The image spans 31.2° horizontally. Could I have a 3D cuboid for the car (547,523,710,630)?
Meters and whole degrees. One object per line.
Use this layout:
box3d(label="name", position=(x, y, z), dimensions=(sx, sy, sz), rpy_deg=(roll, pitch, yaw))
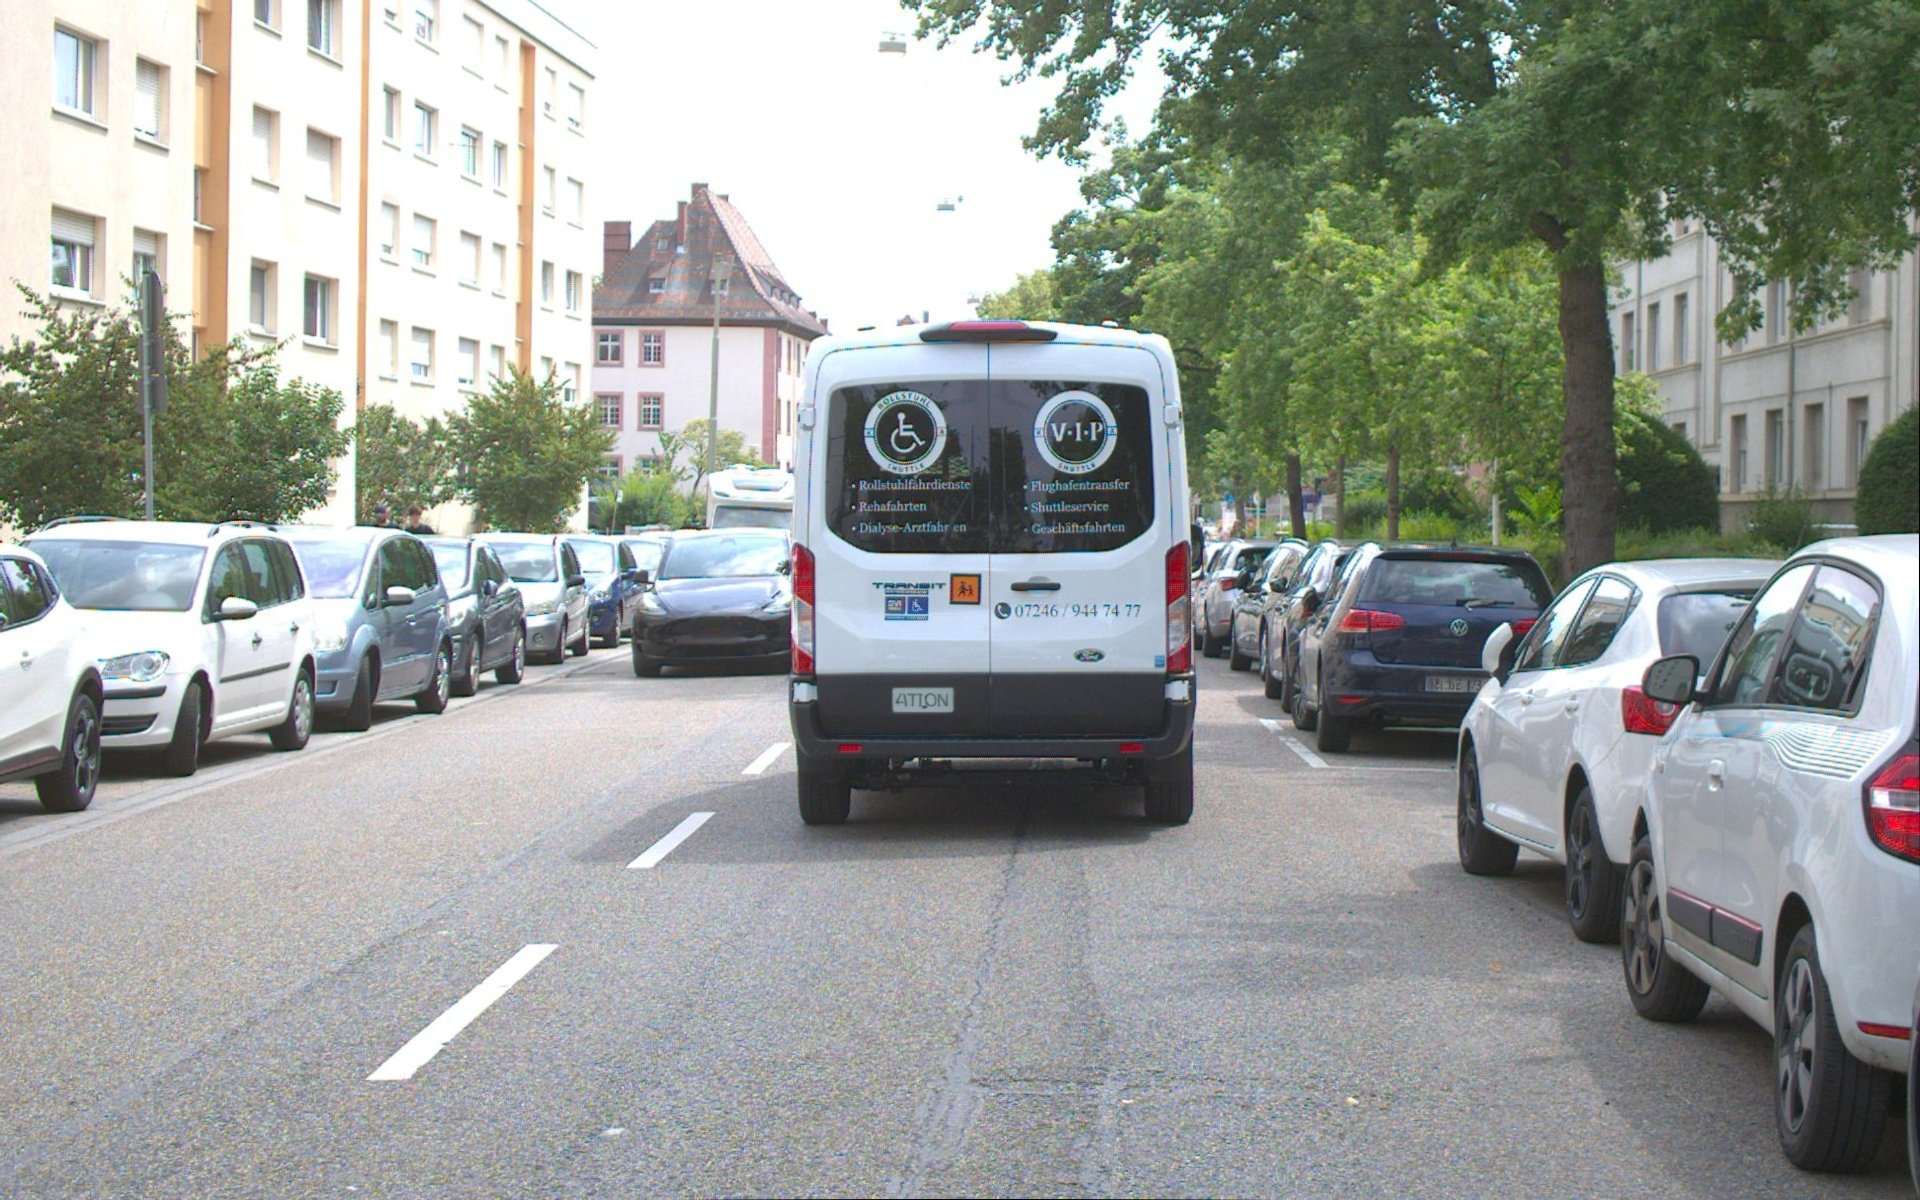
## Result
box3d(label="car", position=(-5.003, -0.389, 52.391), dimensions=(1.818, 1.478, 4.116), rpy_deg=(2, 2, 3))

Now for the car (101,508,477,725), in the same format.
box3d(label="car", position=(-5.564, 0.066, 29.165), dimensions=(1.942, 1.607, 4.861), rpy_deg=(2, 2, 3))

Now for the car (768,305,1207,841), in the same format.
box3d(label="car", position=(0.117, -0.171, 18.542), dimensions=(2.070, 2.531, 4.635), rpy_deg=(0, 1, 0))

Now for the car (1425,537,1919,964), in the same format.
box3d(label="car", position=(3.069, 0.503, 14.225), dimensions=(1.697, 1.445, 4.101), rpy_deg=(1, 2, 0))

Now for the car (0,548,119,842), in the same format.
box3d(label="car", position=(-5.811, 0.477, 18.187), dimensions=(1.708, 1.468, 3.989), rpy_deg=(2, 2, 0))

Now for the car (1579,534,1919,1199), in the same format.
box3d(label="car", position=(2.799, 0.668, 9.448), dimensions=(1.605, 1.602, 3.804), rpy_deg=(3, 2, 3))

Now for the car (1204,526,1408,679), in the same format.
box3d(label="car", position=(3.691, -0.028, 37.368), dimensions=(1.697, 1.464, 4.754), rpy_deg=(2, 2, 0))

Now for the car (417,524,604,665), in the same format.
box3d(label="car", position=(-5.403, -0.105, 41.713), dimensions=(1.670, 1.556, 3.852), rpy_deg=(2, 2, 0))

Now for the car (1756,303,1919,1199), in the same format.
box3d(label="car", position=(2.583, 0.467, 4.883), dimensions=(1.918, 1.859, 4.846), rpy_deg=(2, 2, 3))

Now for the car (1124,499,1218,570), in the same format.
box3d(label="car", position=(5.404, -1.704, 88.628), dimensions=(1.927, 1.655, 5.325), rpy_deg=(3, 2, -1))

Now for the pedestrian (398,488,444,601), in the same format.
box3d(label="pedestrian", position=(-8.647, -0.892, 55.200), dimensions=(0.619, 1.807, 0.804), rpy_deg=(0, 1, -1))

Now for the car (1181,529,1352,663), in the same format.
box3d(label="car", position=(3.757, -0.096, 42.759), dimensions=(1.697, 1.464, 4.718), rpy_deg=(2, 2, 1))

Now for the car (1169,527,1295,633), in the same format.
box3d(label="car", position=(4.167, -0.340, 52.799), dimensions=(1.780, 1.464, 4.614), rpy_deg=(2, 2, 4))

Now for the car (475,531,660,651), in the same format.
box3d(label="car", position=(-5.279, -0.153, 46.683), dimensions=(1.818, 1.478, 3.884), rpy_deg=(2, 2, 3))

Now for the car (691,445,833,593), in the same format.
box3d(label="car", position=(-4.310, -1.813, 76.172), dimensions=(2.510, 3.013, 7.397), rpy_deg=(2, 2, 1))

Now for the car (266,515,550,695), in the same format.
box3d(label="car", position=(-5.430, -0.005, 34.361), dimensions=(1.942, 1.607, 4.302), rpy_deg=(2, 2, 2))

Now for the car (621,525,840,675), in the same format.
box3d(label="car", position=(-2.494, -0.051, 38.456), dimensions=(1.951, 1.516, 4.613), rpy_deg=(-1, 1, 2))

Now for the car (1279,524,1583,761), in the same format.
box3d(label="car", position=(3.265, 0.234, 24.510), dimensions=(1.697, 1.464, 4.101), rpy_deg=(2, 2, 2))

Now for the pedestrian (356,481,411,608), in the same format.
box3d(label="pedestrian", position=(-8.325, -0.802, 49.666), dimensions=(0.619, 1.807, 0.899), rpy_deg=(2, 1, -1))

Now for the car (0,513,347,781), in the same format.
box3d(label="car", position=(-5.633, 0.235, 23.759), dimensions=(1.697, 1.607, 4.477), rpy_deg=(2, 2, 3))

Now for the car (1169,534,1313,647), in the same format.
box3d(label="car", position=(3.884, -0.167, 48.044), dimensions=(1.670, 1.396, 3.852), rpy_deg=(3, 1, 1))
